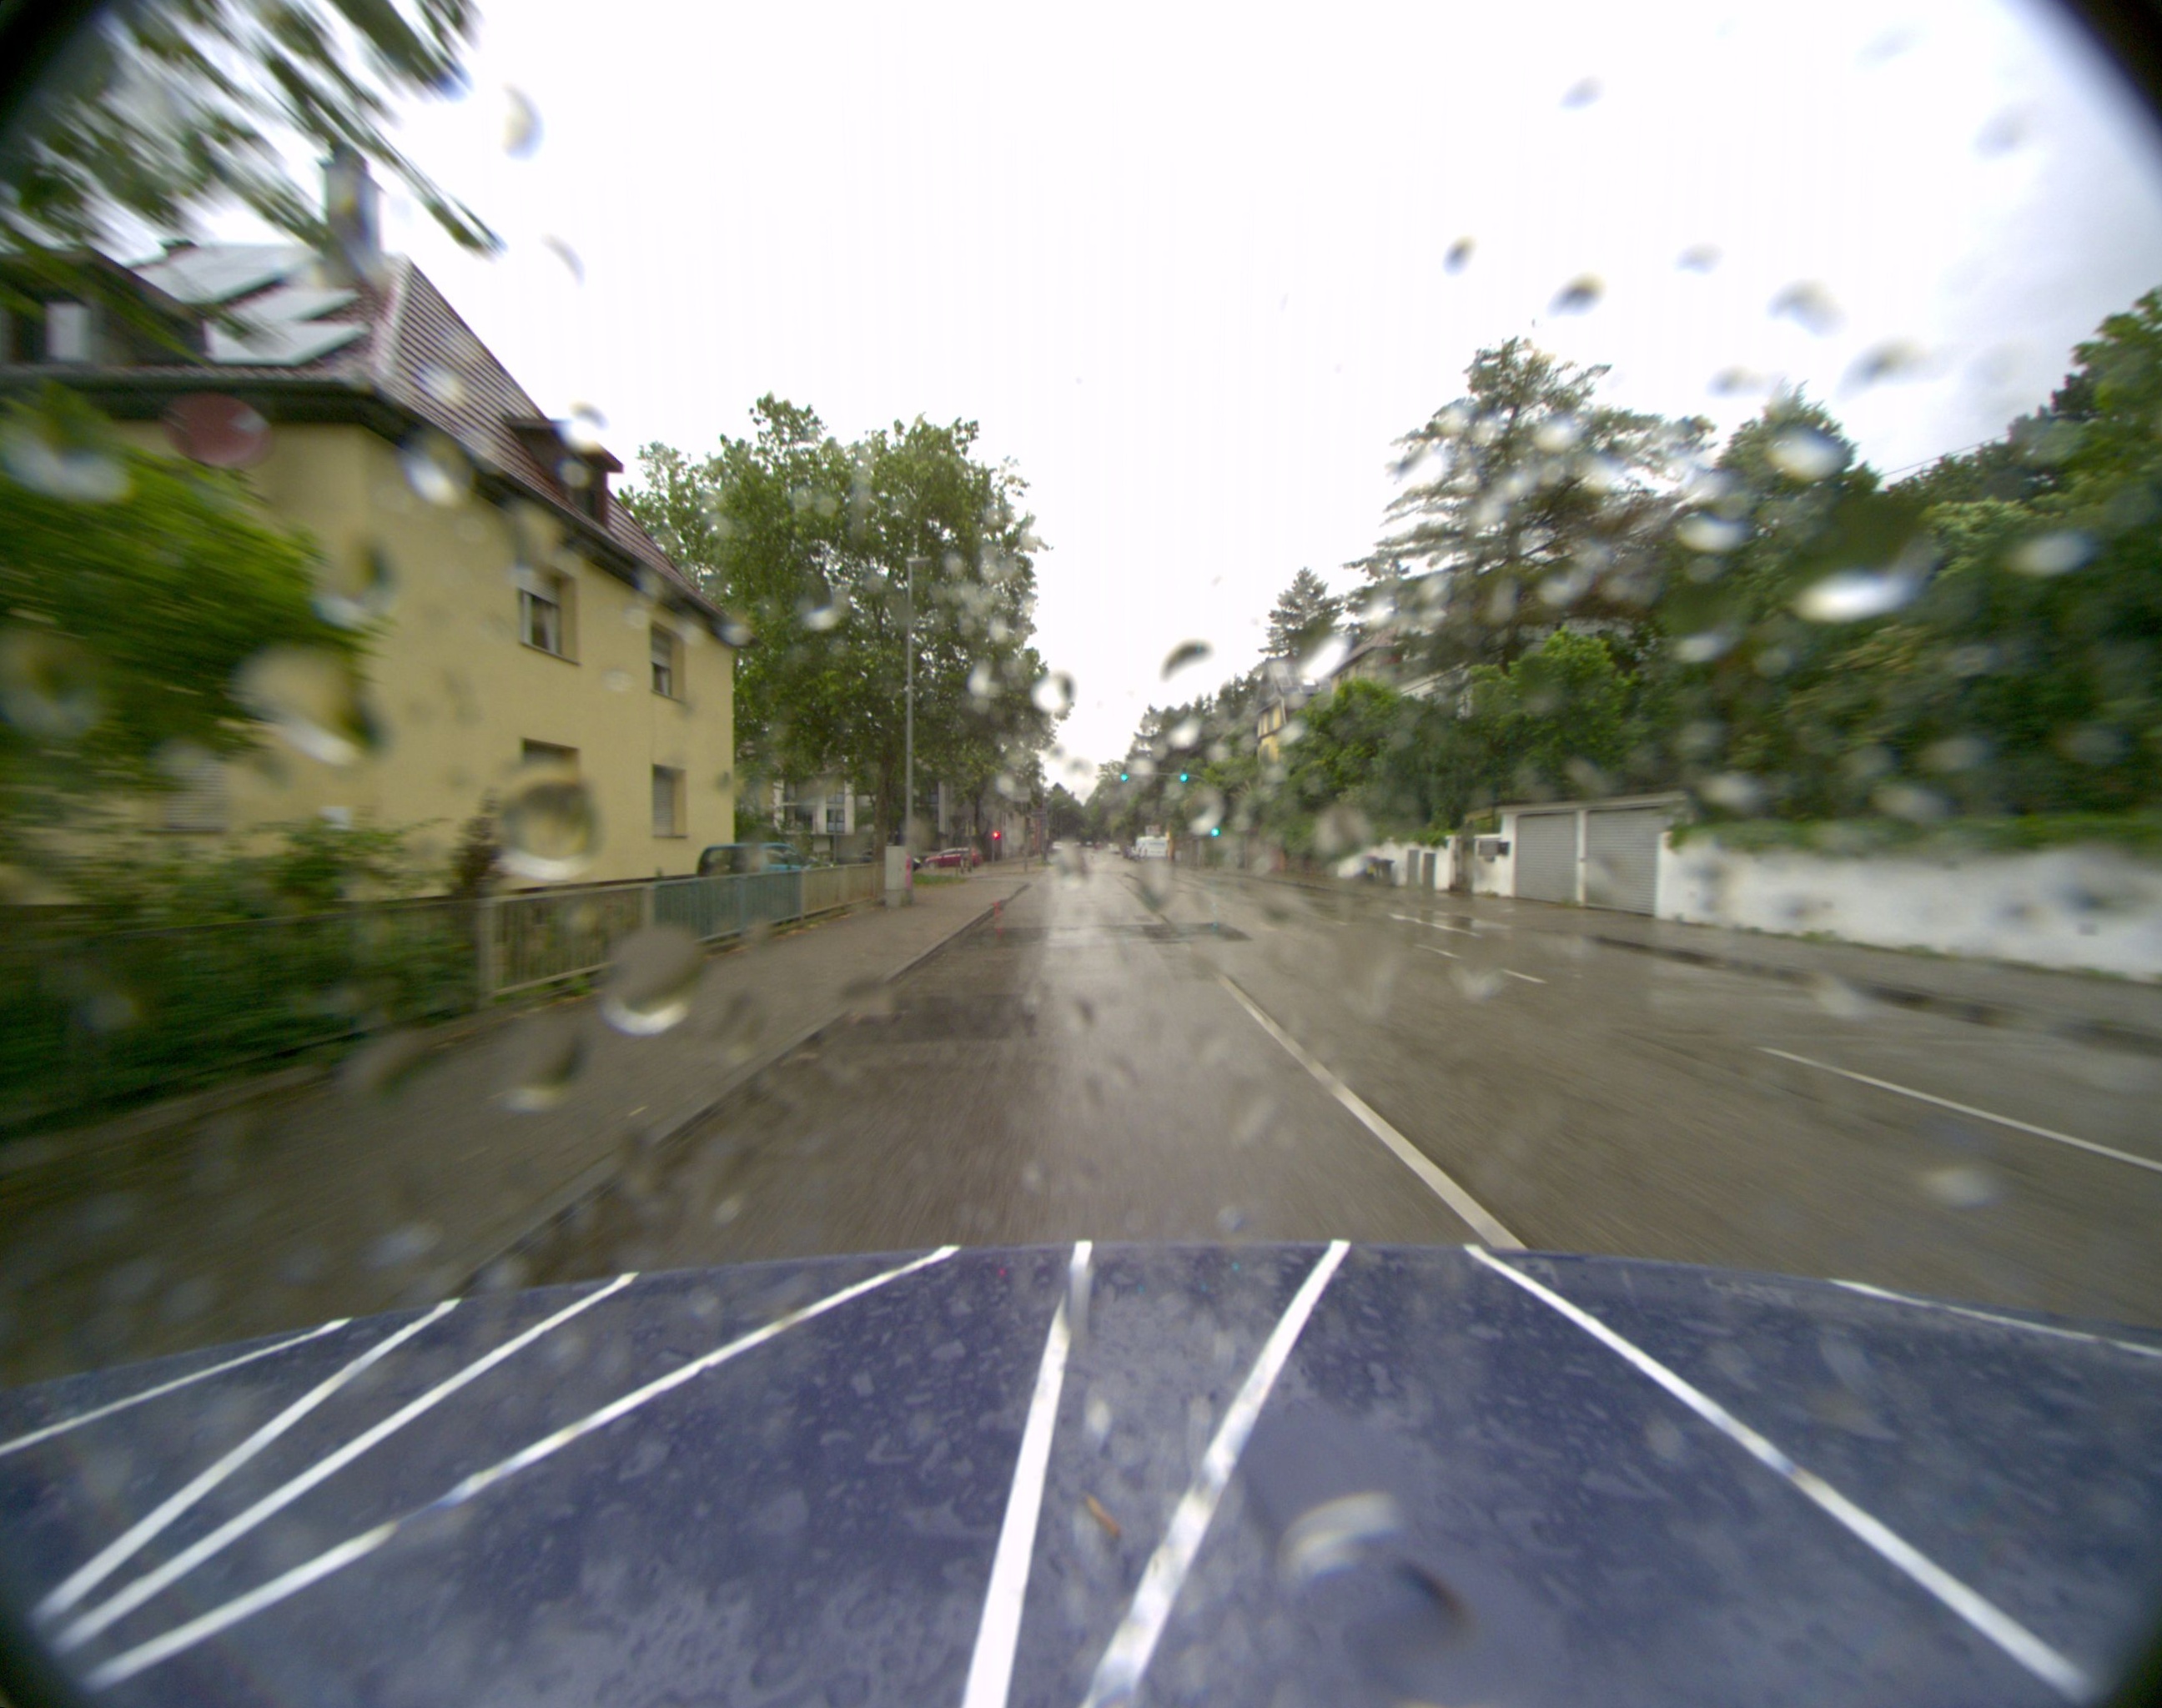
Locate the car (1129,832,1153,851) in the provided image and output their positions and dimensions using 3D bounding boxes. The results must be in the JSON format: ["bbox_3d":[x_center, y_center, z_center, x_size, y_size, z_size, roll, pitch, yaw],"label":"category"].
[{"bbox_3d":[6.694,-1.440,85.350,2.162,1.945,4.914,3,1,-1],"label":"car"}]

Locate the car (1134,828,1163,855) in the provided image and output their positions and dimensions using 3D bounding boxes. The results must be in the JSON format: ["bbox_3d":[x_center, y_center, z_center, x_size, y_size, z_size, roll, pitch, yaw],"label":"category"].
[{"bbox_3d":[6.560,-1.280,74.564,2.162,2.454,4.914,3,1,-1],"label":"car"}]

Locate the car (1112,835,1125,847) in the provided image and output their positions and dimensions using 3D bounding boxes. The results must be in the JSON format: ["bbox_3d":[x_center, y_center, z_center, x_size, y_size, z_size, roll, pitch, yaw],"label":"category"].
[{"bbox_3d":[5.843,-2.059,119.167,1.925,1.747,3.999,-1,1,0],"label":"car"}]

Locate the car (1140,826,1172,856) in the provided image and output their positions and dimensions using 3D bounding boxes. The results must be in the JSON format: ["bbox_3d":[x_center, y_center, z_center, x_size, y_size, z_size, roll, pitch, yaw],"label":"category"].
[{"bbox_3d":[6.693,-1.197,68.276,2.085,2.464,4.851,3,1,-1],"label":"car"}]

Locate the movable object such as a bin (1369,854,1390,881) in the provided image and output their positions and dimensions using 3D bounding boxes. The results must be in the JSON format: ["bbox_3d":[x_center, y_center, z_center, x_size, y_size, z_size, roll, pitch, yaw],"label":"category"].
[{"bbox_3d":[10.371,0.463,26.402,0.544,0.935,0.416,-1,2,-2],"label":"movable object such as a bin"}]

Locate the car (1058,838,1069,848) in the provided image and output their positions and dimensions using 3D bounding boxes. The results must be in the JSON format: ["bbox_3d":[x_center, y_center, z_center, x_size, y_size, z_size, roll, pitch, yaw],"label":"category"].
[{"bbox_3d":[-3.291,-2.188,145.068,1.925,1.889,3.999,-1,2,0],"label":"car"}]

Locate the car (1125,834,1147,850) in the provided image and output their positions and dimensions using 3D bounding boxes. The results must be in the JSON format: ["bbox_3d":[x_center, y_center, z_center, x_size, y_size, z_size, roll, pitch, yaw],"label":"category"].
[{"bbox_3d":[6.622,-1.477,91.776,2.162,1.815,4.914,3,1,-1],"label":"car"}]

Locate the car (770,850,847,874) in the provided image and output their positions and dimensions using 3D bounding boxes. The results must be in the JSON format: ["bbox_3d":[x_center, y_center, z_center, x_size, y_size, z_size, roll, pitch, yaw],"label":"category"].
[{"bbox_3d":[-18.421,0.505,51.525,4.624,1.439,1.609,-1,4,-6],"label":"car"}]

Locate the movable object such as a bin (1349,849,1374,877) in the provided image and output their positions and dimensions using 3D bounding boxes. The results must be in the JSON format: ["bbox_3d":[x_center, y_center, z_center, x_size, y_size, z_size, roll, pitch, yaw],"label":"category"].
[{"bbox_3d":[10.333,0.327,27.991,0.683,1.034,0.657,-1,2,-2],"label":"movable object such as a bin"}]

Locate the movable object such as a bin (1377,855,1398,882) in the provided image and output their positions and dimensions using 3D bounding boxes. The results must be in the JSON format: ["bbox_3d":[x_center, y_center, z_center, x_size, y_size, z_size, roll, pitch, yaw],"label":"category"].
[{"bbox_3d":[10.448,0.501,25.935,0.532,0.893,0.416,-1,2,-2],"label":"movable object such as a bin"}]

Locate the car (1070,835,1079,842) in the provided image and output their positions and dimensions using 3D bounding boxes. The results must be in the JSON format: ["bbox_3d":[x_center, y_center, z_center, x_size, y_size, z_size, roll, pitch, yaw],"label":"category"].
[{"bbox_3d":[-1.584,-4.024,194.505,1.924,1.889,4.001,0,2,6],"label":"car"}]

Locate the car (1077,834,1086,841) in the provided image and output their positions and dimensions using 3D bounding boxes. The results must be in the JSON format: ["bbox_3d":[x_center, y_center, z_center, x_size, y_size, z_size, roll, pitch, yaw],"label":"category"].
[{"bbox_3d":[0.094,-4.366,204.886,1.924,1.889,4.001,0,2,7],"label":"car"}]

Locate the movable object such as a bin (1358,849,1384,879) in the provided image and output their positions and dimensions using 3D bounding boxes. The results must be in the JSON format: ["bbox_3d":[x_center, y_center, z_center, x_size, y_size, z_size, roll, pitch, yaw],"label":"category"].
[{"bbox_3d":[10.341,0.345,27.116,0.683,1.034,0.657,-1,2,-2],"label":"movable object such as a bin"}]

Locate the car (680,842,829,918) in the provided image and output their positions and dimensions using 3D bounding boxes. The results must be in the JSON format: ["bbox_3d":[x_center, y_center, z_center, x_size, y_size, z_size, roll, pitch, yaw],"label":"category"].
[{"bbox_3d":[-7.108,0.488,16.942,1.673,1.462,3.524,-1,2,2],"label":"car"}]

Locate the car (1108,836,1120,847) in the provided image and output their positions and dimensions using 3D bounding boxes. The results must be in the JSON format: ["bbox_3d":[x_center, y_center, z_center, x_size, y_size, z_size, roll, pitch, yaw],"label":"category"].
[{"bbox_3d":[5.689,-2.179,130.602,1.925,1.889,3.999,-1,2,0],"label":"car"}]

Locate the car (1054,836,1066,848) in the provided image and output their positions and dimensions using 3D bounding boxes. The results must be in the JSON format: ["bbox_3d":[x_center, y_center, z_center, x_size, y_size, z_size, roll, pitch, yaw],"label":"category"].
[{"bbox_3d":[-3.445,-1.965,125.375,1.925,1.889,3.999,-1,2,0],"label":"car"}]

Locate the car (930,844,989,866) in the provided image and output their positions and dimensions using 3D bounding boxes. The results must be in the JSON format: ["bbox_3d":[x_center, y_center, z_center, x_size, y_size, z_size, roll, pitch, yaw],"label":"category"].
[{"bbox_3d":[-9.302,0.032,58.429,4.086,1.601,1.796,1,2,11],"label":"car"}]

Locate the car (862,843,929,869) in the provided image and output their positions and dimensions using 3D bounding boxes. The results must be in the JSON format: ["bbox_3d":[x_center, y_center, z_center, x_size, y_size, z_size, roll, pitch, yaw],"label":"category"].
[{"bbox_3d":[-12.670,0.136,52.090,4.227,1.678,1.708,-1,2,-6],"label":"car"}]

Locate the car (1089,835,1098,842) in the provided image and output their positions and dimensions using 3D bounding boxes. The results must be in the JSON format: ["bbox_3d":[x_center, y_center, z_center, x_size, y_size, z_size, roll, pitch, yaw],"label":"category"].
[{"bbox_3d":[3.662,-4.500,221.785,1.923,1.889,4.003,0,2,12],"label":"car"}]
